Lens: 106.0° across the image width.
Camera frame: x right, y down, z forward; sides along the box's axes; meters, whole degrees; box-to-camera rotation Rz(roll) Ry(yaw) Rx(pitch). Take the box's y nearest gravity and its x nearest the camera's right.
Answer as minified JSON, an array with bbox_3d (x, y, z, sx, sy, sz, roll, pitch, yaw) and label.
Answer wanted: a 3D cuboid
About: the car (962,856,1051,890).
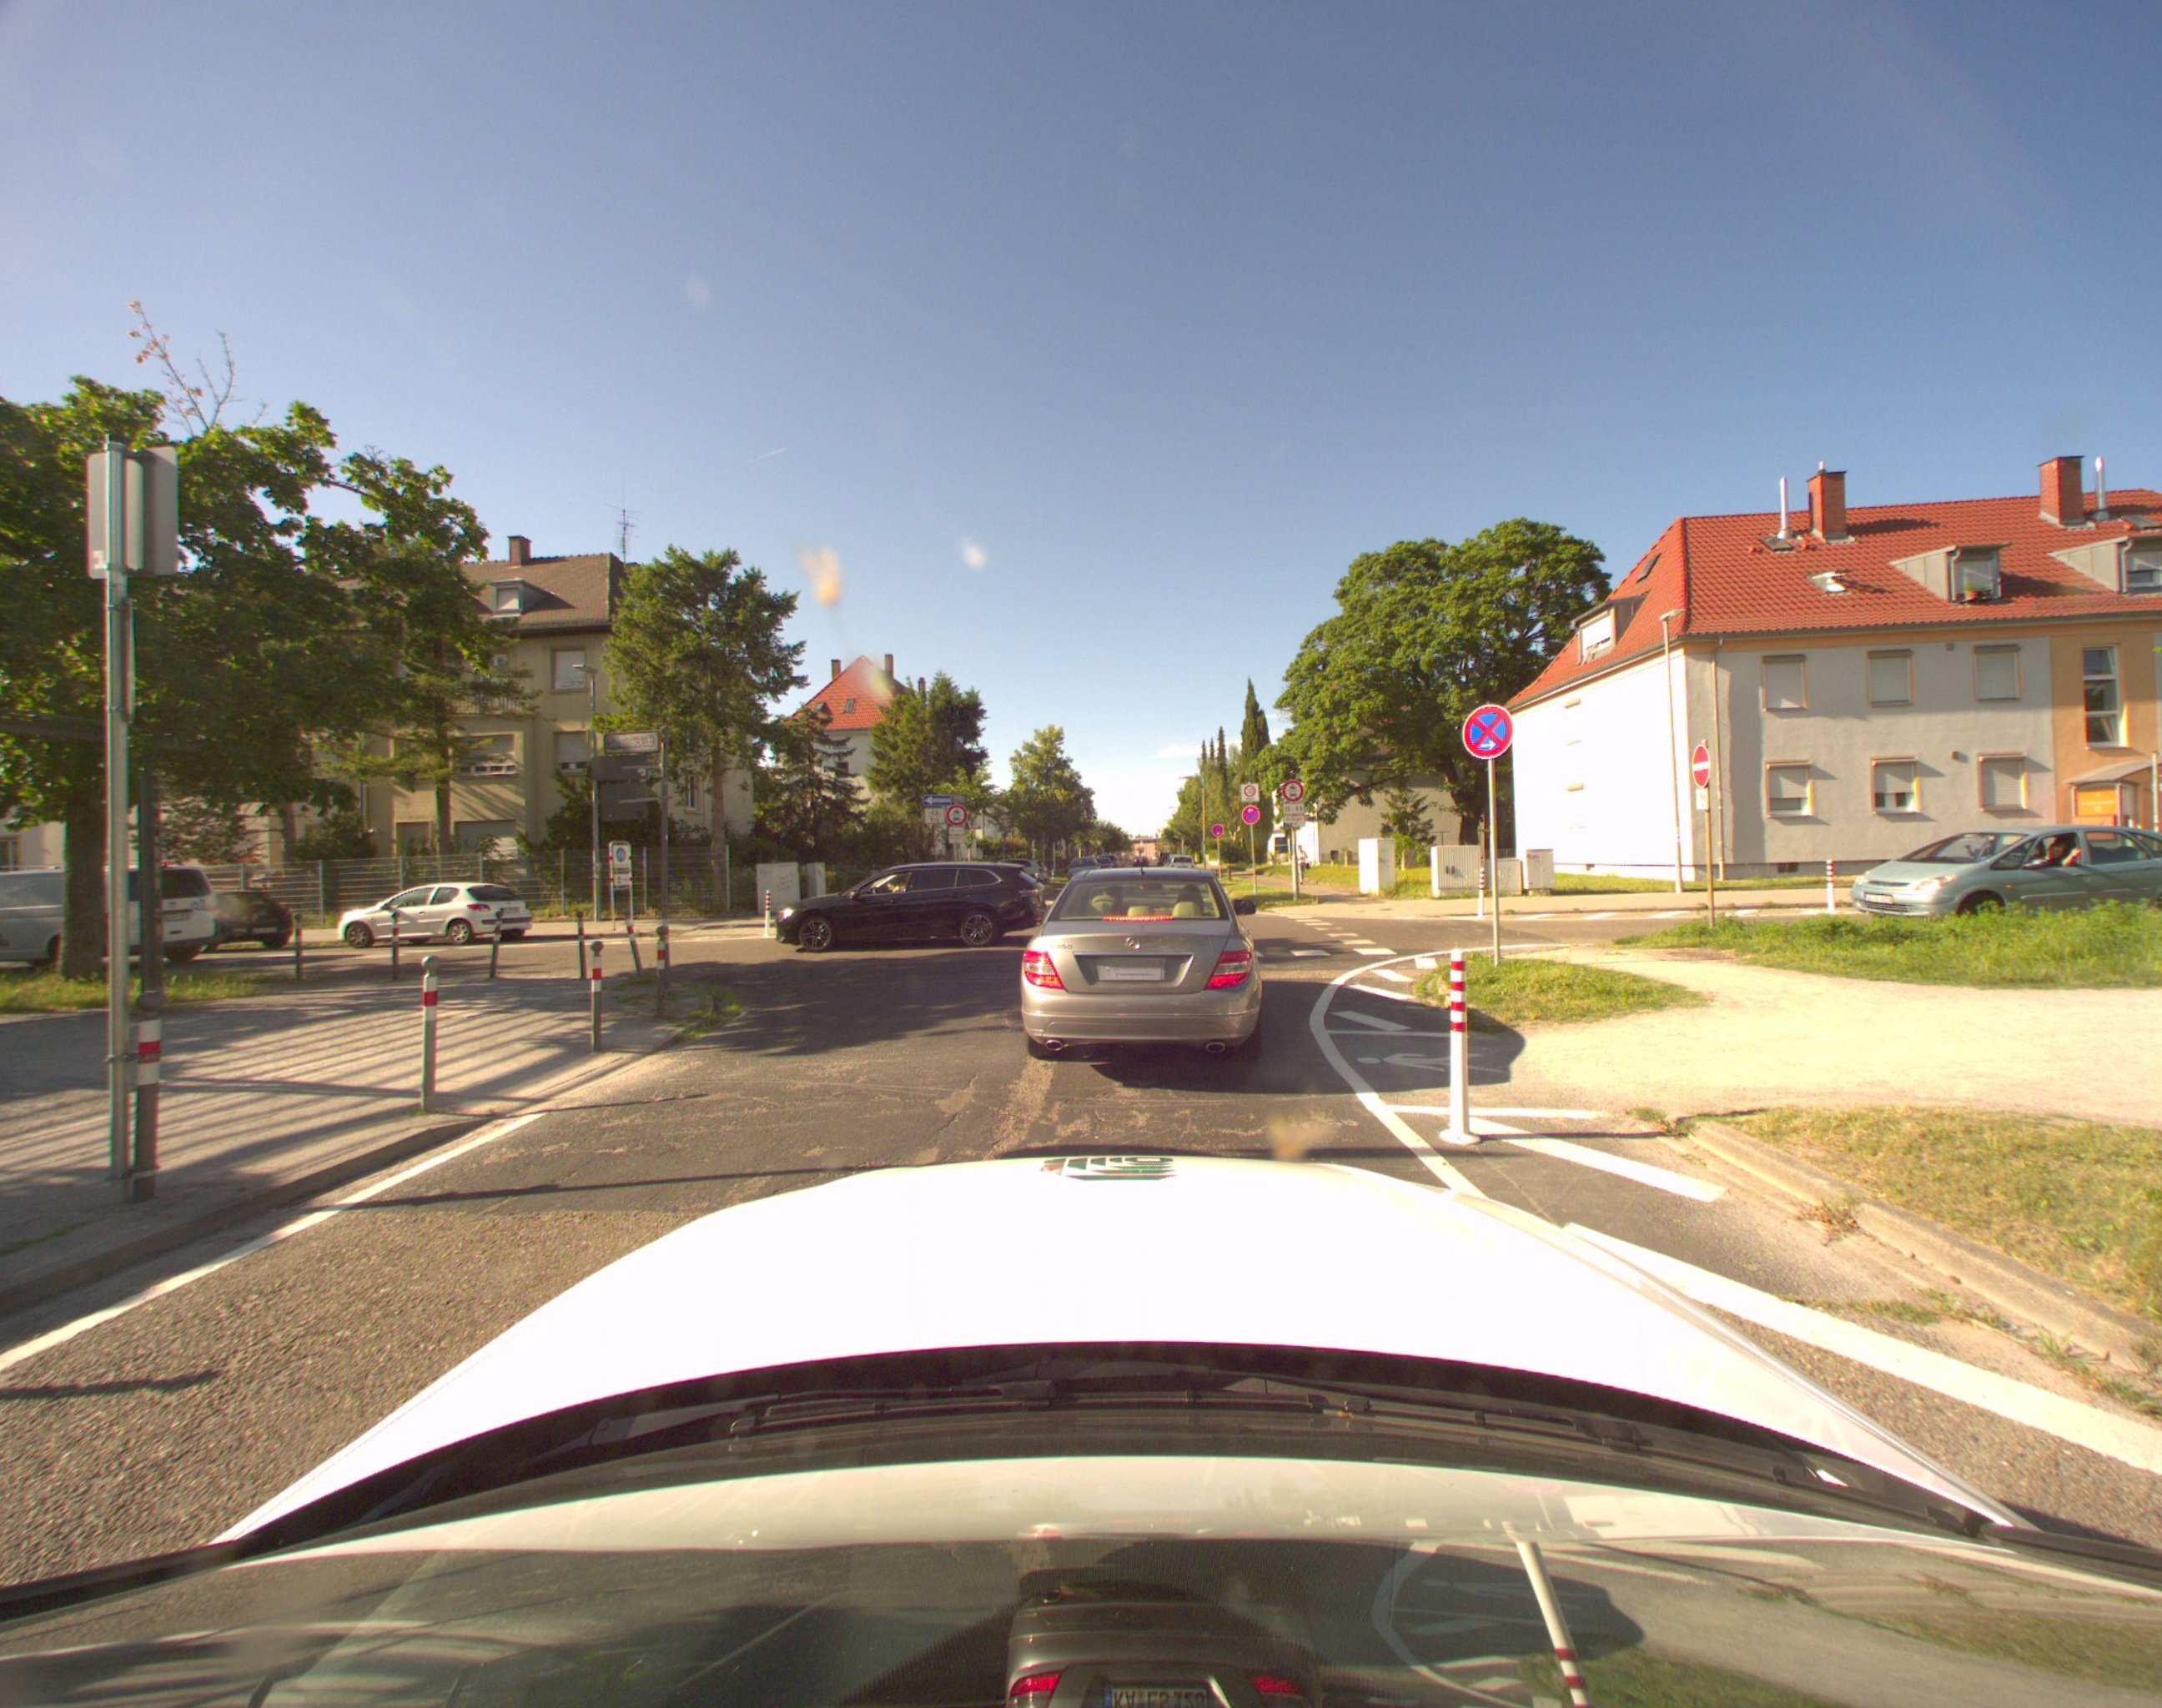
[{"bbox_3d":[-3.690,0.943,40.721,4.177,1.564,1.843,-1,0,1],"label":"car"}]

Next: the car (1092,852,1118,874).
[{"bbox_3d":[2.097,0.734,69.192,1.986,1.609,4.003,-5,0,2],"label":"car"}]

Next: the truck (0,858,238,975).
[{"bbox_3d":[-19.859,1.195,15.914,4.836,2.036,2.002,-2,0,4],"label":"truck"}]

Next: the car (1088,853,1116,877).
[{"bbox_3d":[1.694,0.803,63.406,1.986,1.609,4.003,-5,0,2],"label":"car"}]

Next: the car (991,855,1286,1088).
[{"bbox_3d":[0.548,0.751,7.133,1.827,1.441,4.006,-1,0,6],"label":"car"}]

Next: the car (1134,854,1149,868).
[{"bbox_3d":[7.022,0.787,94.545,1.591,1.609,3.646,-2,0,3],"label":"car"}]

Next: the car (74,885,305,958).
[{"bbox_3d":[-21.013,1.568,19.290,3.796,1.495,1.679,-2,-1,4],"label":"car"}]

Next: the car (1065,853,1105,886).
[{"bbox_3d":[0.277,0.832,45.629,1.986,1.609,4.003,-5,0,2],"label":"car"}]

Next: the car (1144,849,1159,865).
[{"bbox_3d":[8.920,0.359,103.119,1.846,1.841,4.004,-2,0,4],"label":"car"}]

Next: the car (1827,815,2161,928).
[{"bbox_3d":[15.309,0.257,13.375,4.213,1.608,1.891,-2,0,5],"label":"car"}]

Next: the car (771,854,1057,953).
[{"bbox_3d":[-2.905,0.842,14.928,4.722,1.524,2.001,-2,0,2],"label":"car"}]

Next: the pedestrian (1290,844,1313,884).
[{"bbox_3d":[9.088,0.394,33.592,0.761,1.611,0.836,-2,0,9],"label":"pedestrian"}]

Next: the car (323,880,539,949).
[{"bbox_3d":[-15.125,1.393,19.079,3.747,1.398,1.709,-2,-1,4],"label":"car"}]

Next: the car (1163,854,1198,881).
[{"bbox_3d":[5.762,0.769,47.533,1.726,1.480,3.728,-2,0,3],"label":"car"}]

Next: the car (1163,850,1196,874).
[{"bbox_3d":[6.993,0.574,58.336,1.985,1.609,4.003,-2,0,3],"label":"car"}]
